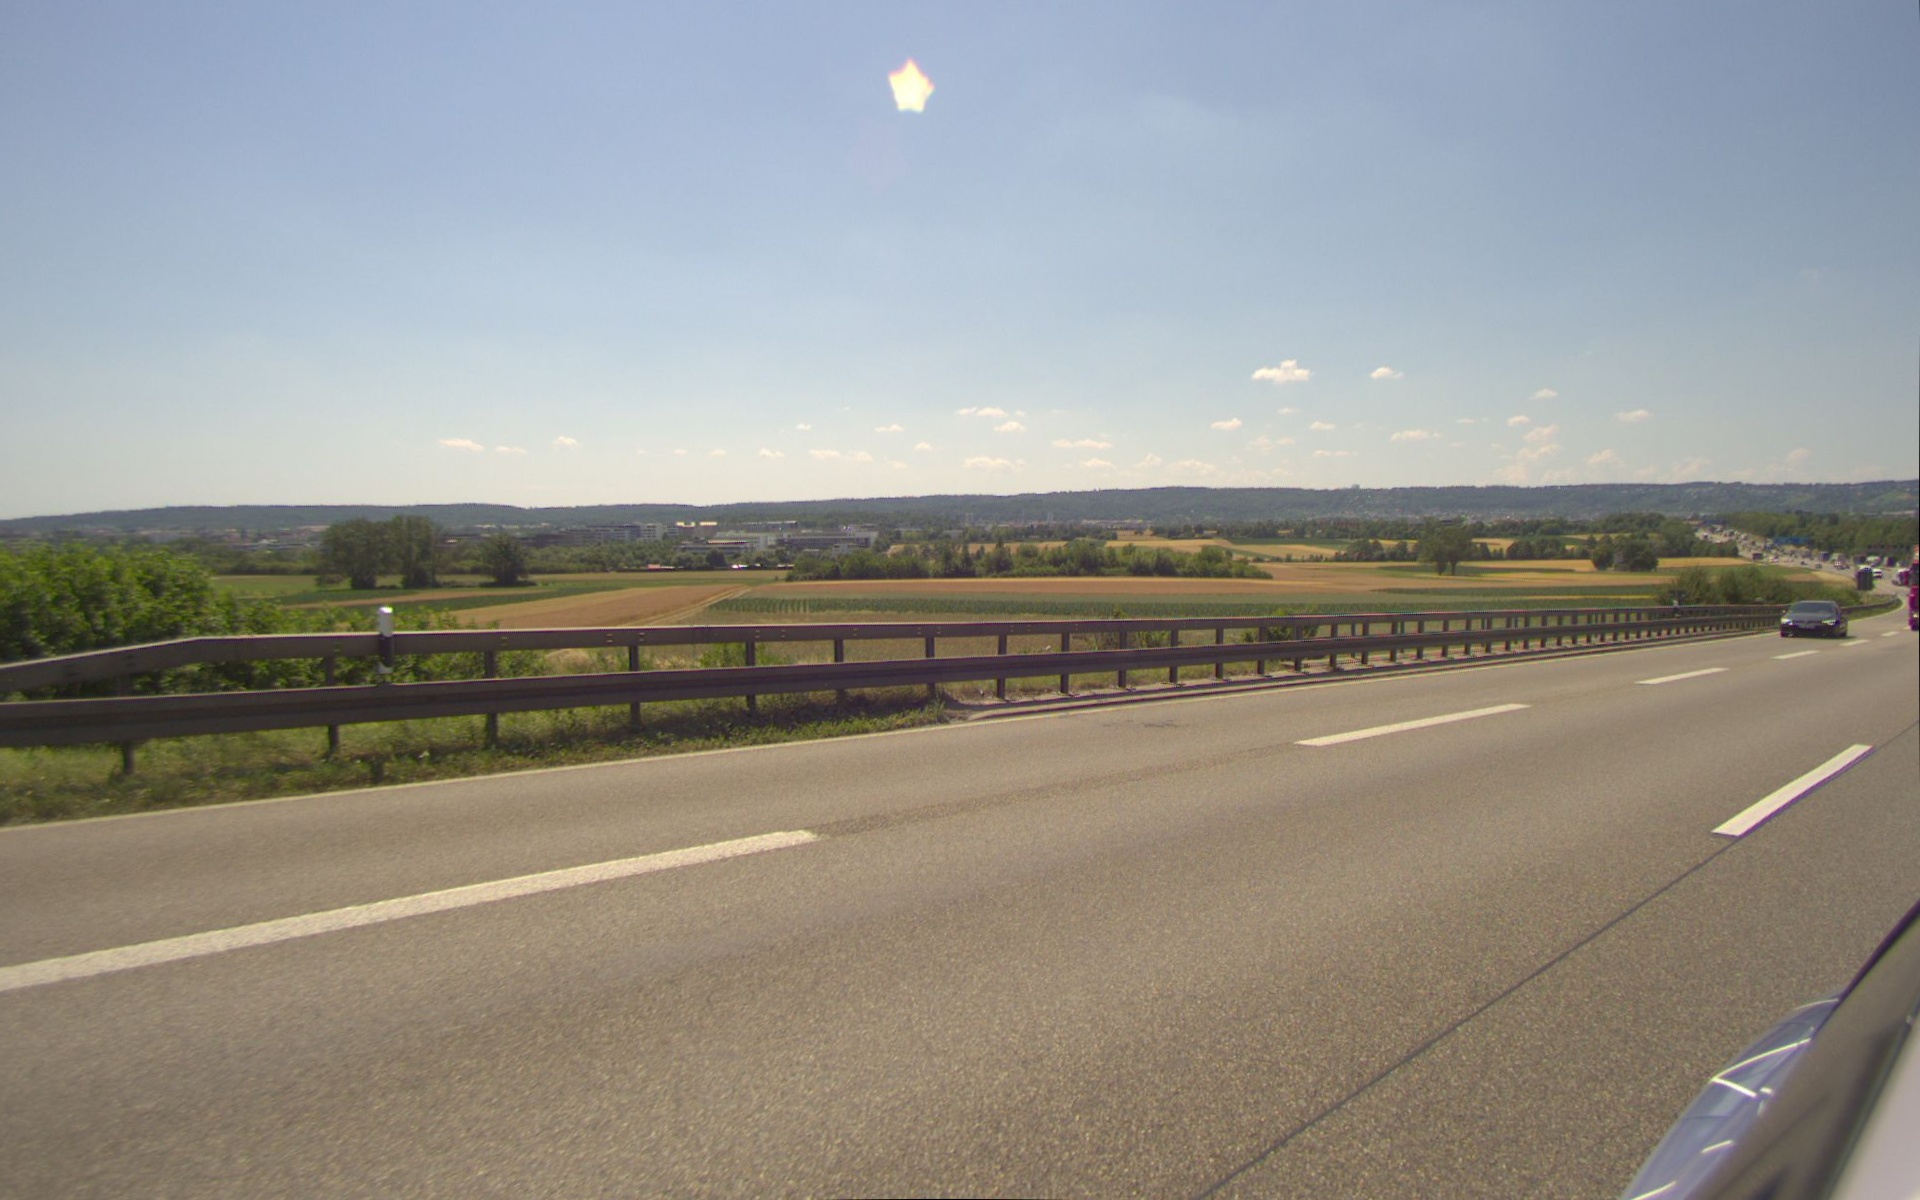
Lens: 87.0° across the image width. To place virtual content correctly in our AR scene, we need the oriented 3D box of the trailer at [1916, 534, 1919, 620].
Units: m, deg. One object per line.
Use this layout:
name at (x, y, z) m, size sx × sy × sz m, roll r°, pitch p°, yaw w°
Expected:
trailer at (52.069, -1.290, 52.562) m, size 13.632 × 4.169 × 2.920 m, roll -2°, pitch 1°, yaw -44°

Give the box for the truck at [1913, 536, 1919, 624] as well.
truck at (47.481, -0.995, 48.110) m, size 6.405 × 4.059 × 2.918 m, roll -2°, pitch 1°, yaw -44°

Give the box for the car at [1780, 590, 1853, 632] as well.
car at (34.126, 0.415, 40.294) m, size 2.032 × 1.571 × 3.937 m, roll 1°, pitch 1°, yaw 43°
